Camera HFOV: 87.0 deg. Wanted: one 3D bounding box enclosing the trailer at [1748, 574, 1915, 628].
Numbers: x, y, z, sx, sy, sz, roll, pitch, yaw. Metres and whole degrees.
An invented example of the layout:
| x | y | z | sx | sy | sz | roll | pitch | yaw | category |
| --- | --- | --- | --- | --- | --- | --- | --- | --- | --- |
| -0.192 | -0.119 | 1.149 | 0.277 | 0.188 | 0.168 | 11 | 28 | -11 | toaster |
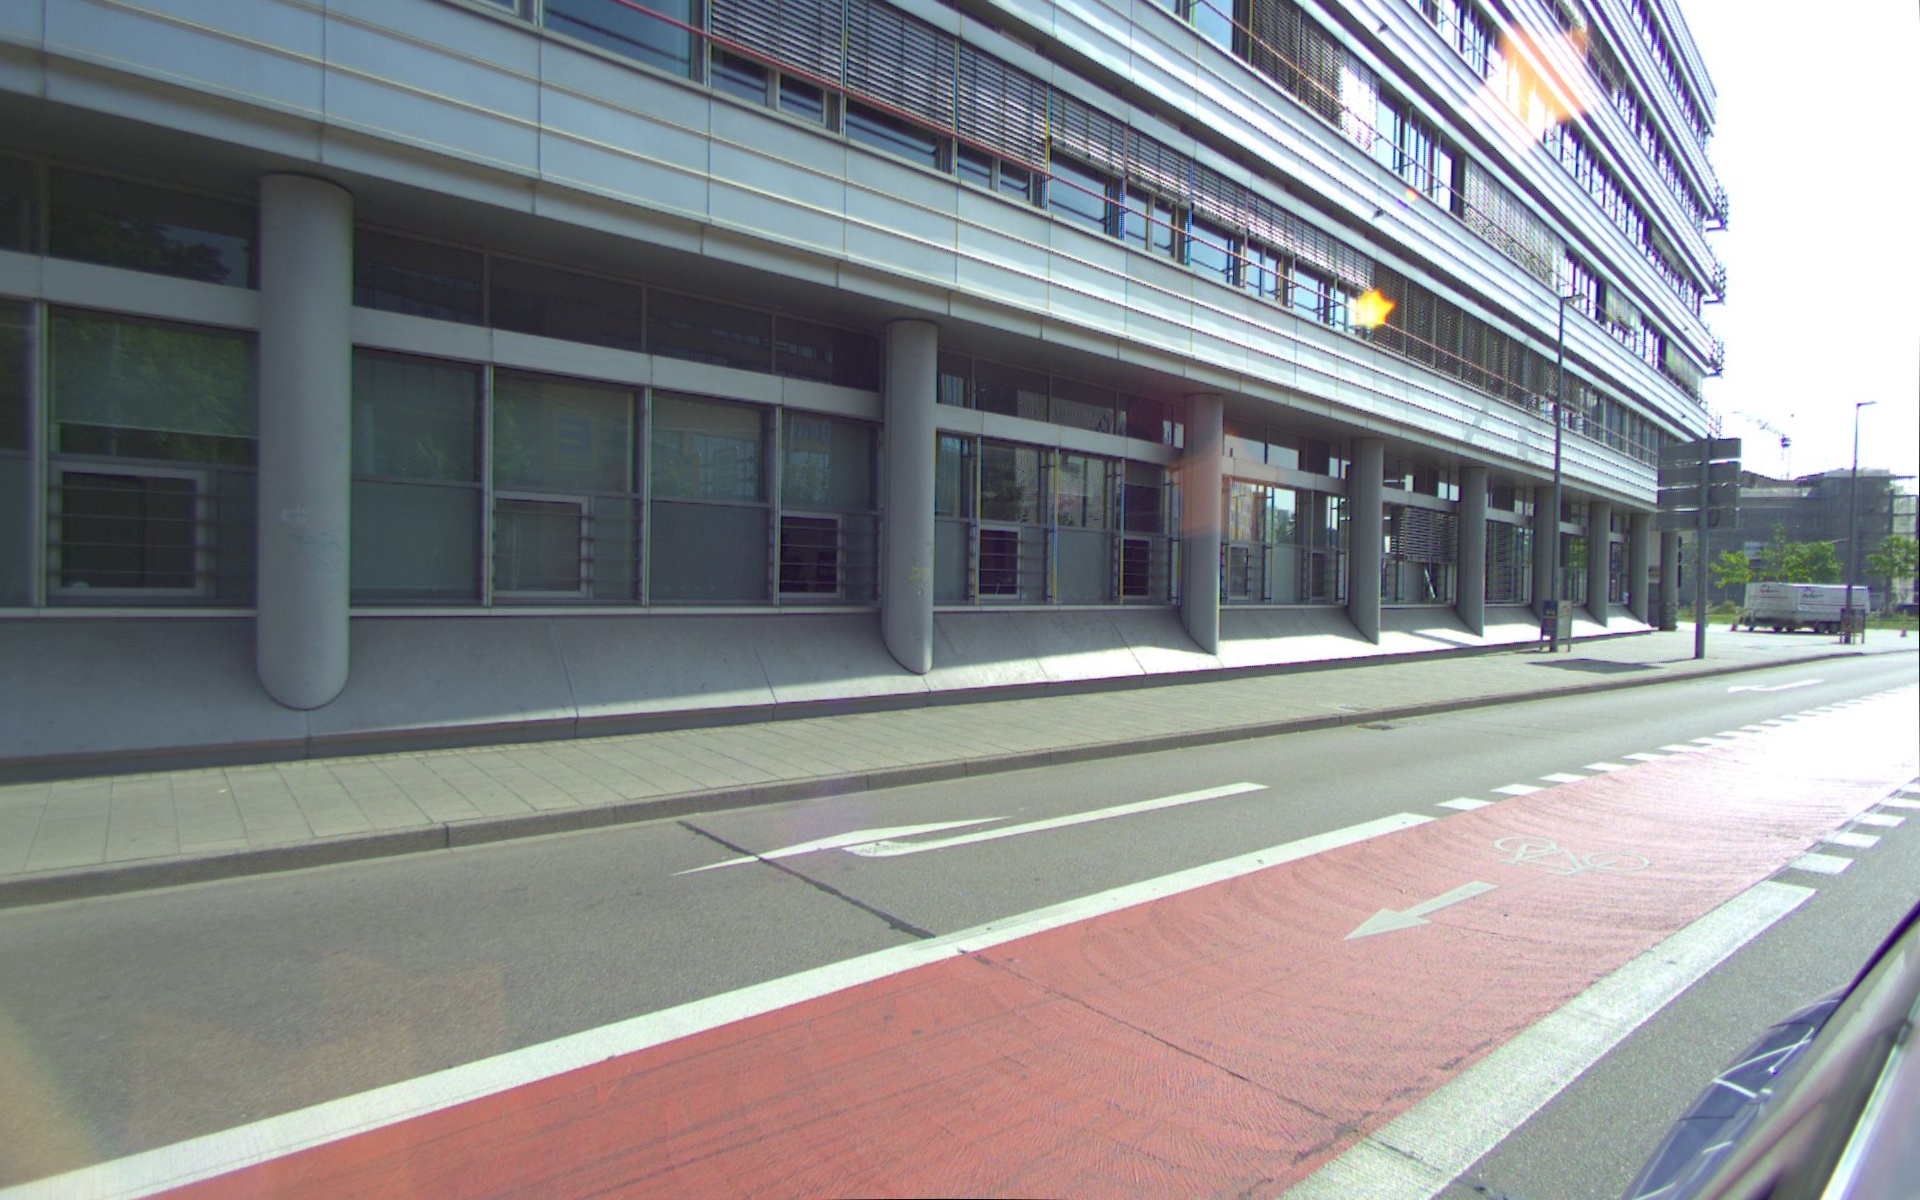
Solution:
| x | y | z | sx | sy | sz | roll | pitch | yaw | category |
| --- | --- | --- | --- | --- | --- | --- | --- | --- | --- |
| 38.044 | 0.027 | 44.230 | 5.825 | 2.178 | 2.402 | 1 | 1 | -11 | trailer |
